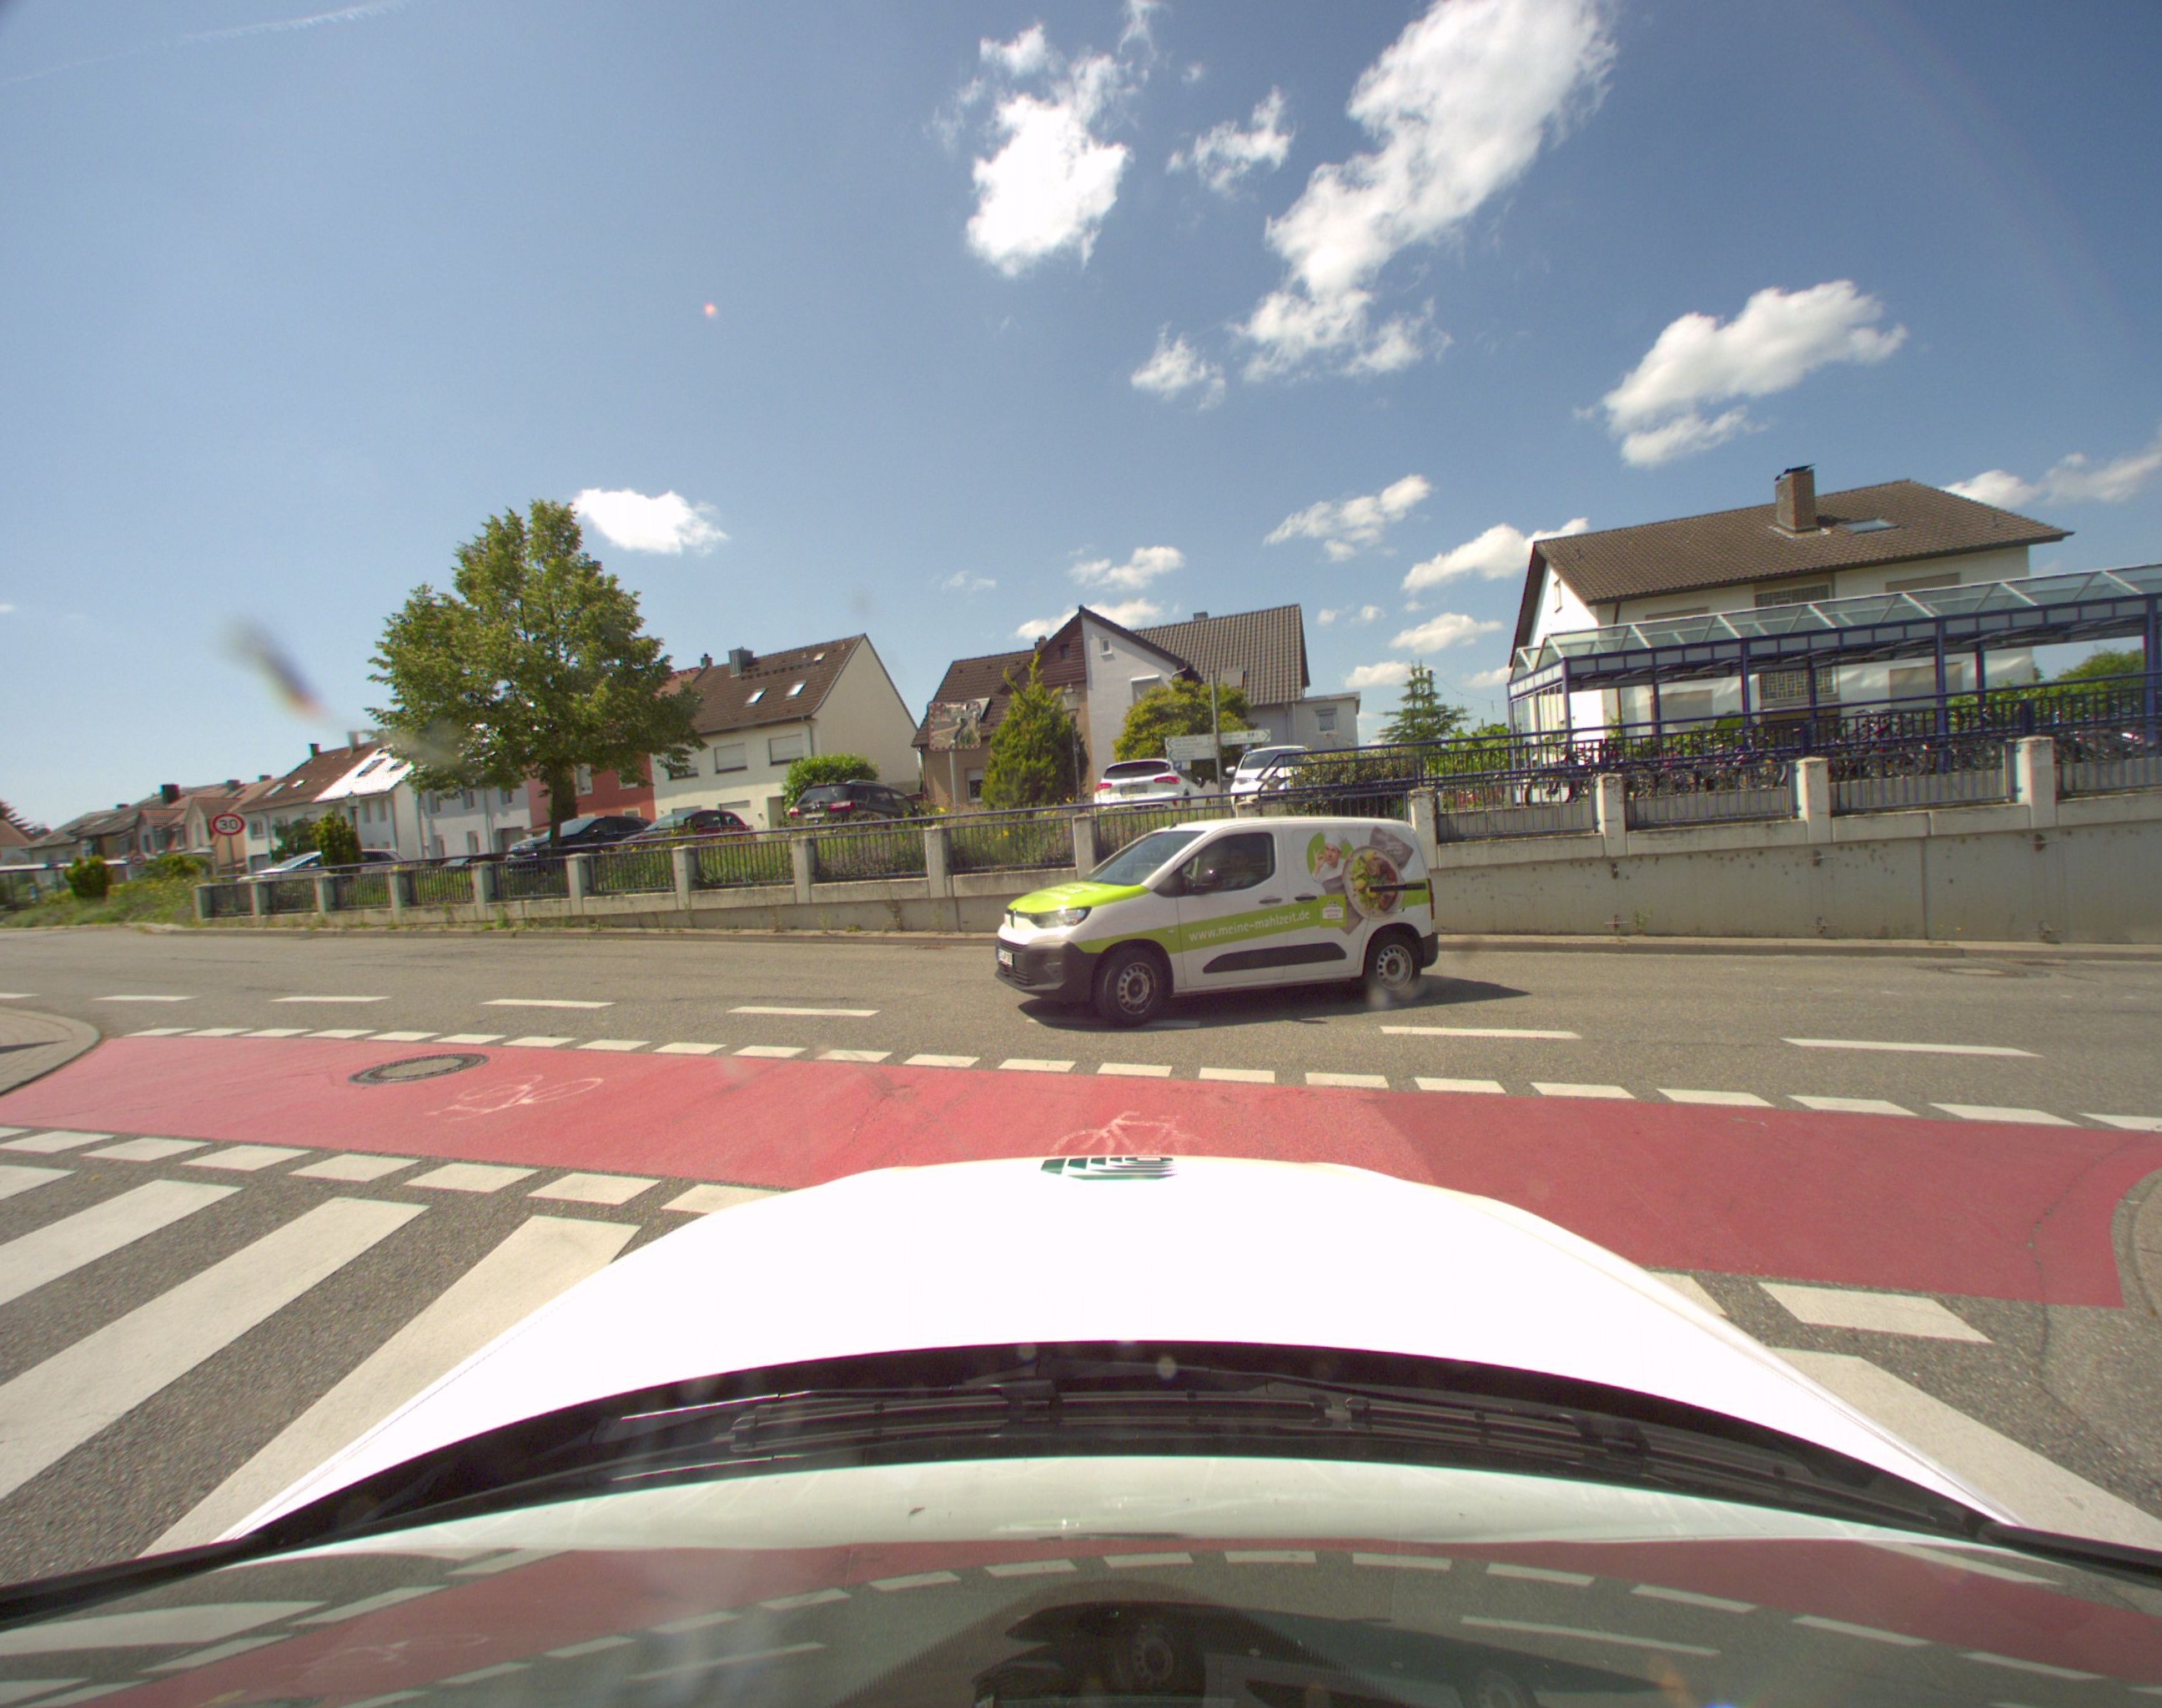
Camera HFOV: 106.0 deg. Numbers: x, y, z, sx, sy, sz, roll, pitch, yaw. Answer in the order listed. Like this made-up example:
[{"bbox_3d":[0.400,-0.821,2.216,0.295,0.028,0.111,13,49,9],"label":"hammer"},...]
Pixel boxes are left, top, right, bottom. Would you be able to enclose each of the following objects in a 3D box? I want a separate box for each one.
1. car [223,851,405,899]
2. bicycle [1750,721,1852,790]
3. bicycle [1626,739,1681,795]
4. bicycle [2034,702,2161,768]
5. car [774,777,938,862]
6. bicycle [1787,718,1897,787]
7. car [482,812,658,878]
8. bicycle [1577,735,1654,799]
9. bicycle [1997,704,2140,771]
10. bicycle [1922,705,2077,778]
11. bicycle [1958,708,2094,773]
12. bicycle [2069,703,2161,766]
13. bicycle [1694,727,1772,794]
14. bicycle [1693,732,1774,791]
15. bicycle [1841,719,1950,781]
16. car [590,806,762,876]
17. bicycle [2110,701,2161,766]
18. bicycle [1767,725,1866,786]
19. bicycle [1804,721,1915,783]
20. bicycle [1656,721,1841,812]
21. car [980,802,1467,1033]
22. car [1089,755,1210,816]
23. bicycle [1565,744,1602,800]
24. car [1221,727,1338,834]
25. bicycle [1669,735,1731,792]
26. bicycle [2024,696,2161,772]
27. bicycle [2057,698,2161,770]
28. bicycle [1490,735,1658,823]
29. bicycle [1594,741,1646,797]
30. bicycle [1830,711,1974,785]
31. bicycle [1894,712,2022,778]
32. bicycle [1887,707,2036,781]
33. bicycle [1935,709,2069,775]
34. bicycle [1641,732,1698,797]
[{"bbox_3d":[-26.643,0.664,28.479,1.726,1.488,4.280,0,1,23],"label":"car"},{"bbox_3d":[12.148,-1.623,13.822,0.432,0.994,2.293,-3,2,19],"label":"bicycle"},{"bbox_3d":[11.387,-1.698,16.251,0.369,0.994,1.976,-3,2,20],"label":"bicycle"},{"bbox_3d":[18.497,-2.120,14.719,0.515,0.994,1.972,-3,2,11],"label":"bicycle"},{"bbox_3d":[-5.144,-0.763,19.244,1.853,1.797,4.018,0,1,16],"label":"car"},{"bbox_3d":[12.710,-1.656,13.680,0.432,0.994,2.293,-3,2,19],"label":"bicycle"},{"bbox_3d":[-13.495,-0.259,21.757,1.853,1.586,3.626,0,1,16],"label":"car"},{"bbox_3d":[9.420,-1.495,14.424,0.330,0.994,2.082,-3,2,10],"label":"bicycle"},{"bbox_3d":[17.930,-2.087,14.860,0.515,0.994,1.972,-3,2,11],"label":"bicycle"},{"bbox_3d":[15.145,-1.814,13.525,0.529,0.994,2.196,-3,2,13],"label":"bicycle"},{"bbox_3d":[17.341,-2.053,15.018,0.515,0.994,1.972,-3,2,11],"label":"bicycle"},{"bbox_3d":[19.034,-2.152,14.615,0.515,0.994,1.972,-3,2,11],"label":"bicycle"},{"bbox_3d":[11.013,-1.546,13.813,0.431,0.994,2.114,-3,2,23],"label":"bicycle"},{"bbox_3d":[12.707,-1.775,15.929,0.423,0.994,1.974,-3,2,14],"label":"bicycle"},{"bbox_3d":[15.349,-1.934,15.412,0.515,0.994,1.807,-3,2,11],"label":"bicycle"},{"bbox_3d":[-9.974,-0.323,20.367,1.853,1.586,3.626,0,1,16],"label":"car"},{"bbox_3d":[17.489,-1.949,12.930,0.511,0.994,2.051,-3,2,24],"label":"bicycle"},{"bbox_3d":[13.964,-1.845,15.526,0.411,0.994,1.972,-3,2,11],"label":"bicycle"},{"bbox_3d":[14.667,-1.888,15.417,0.515,0.994,1.972,-3,2,11],"label":"bicycle"},{"bbox_3d":[9.500,-1.229,11.635,2.102,1.125,0.393,-3,2,10],"label":"bicycle"},{"bbox_3d":[1.420,0.466,8.186,4.560,1.854,1.806,-1,1,-21],"label":"car"},{"bbox_3d":[1.528,-1.355,16.908,1.811,1.019,3.475,0,1,16],"label":"car"},{"bbox_3d":[9.861,-1.586,16.021,0.451,0.994,1.900,-3,2,27],"label":"bicycle"},{"bbox_3d":[4.033,-1.310,16.165,1.978,1.797,4.215,0,1,16],"label":"car"},{"bbox_3d":[12.052,-1.730,15.910,0.369,0.994,1.976,-3,2,20],"label":"bicycle"},{"bbox_3d":[15.991,-1.845,12.848,0.573,0.994,2.201,-3,2,25],"label":"bicycle"},{"bbox_3d":[16.799,-1.906,13.027,0.511,0.994,2.049,-3,2,19],"label":"bicycle"},{"bbox_3d":[7.243,-1.092,12.021,2.102,1.125,0.334,-3,2,10],"label":"bicycle"},{"bbox_3d":[10.564,-1.634,16.016,0.369,0.994,1.976,-3,2,20],"label":"bicycle"},{"bbox_3d":[13.435,-1.695,13.435,0.529,0.994,2.290,-3,2,13],"label":"bicycle"},{"bbox_3d":[16.010,-1.960,14.934,0.515,0.994,1.972,-3,2,11],"label":"bicycle"},{"bbox_3d":[14.425,-1.762,13.437,0.529,0.994,2.196,-3,2,13],"label":"bicycle"},{"bbox_3d":[16.741,-2.007,14.870,0.515,0.994,1.972,-3,2,11],"label":"bicycle"},{"bbox_3d":[9.980,-1.478,13.855,0.431,0.994,2.115,-3,2,27],"label":"bicycle"}]
